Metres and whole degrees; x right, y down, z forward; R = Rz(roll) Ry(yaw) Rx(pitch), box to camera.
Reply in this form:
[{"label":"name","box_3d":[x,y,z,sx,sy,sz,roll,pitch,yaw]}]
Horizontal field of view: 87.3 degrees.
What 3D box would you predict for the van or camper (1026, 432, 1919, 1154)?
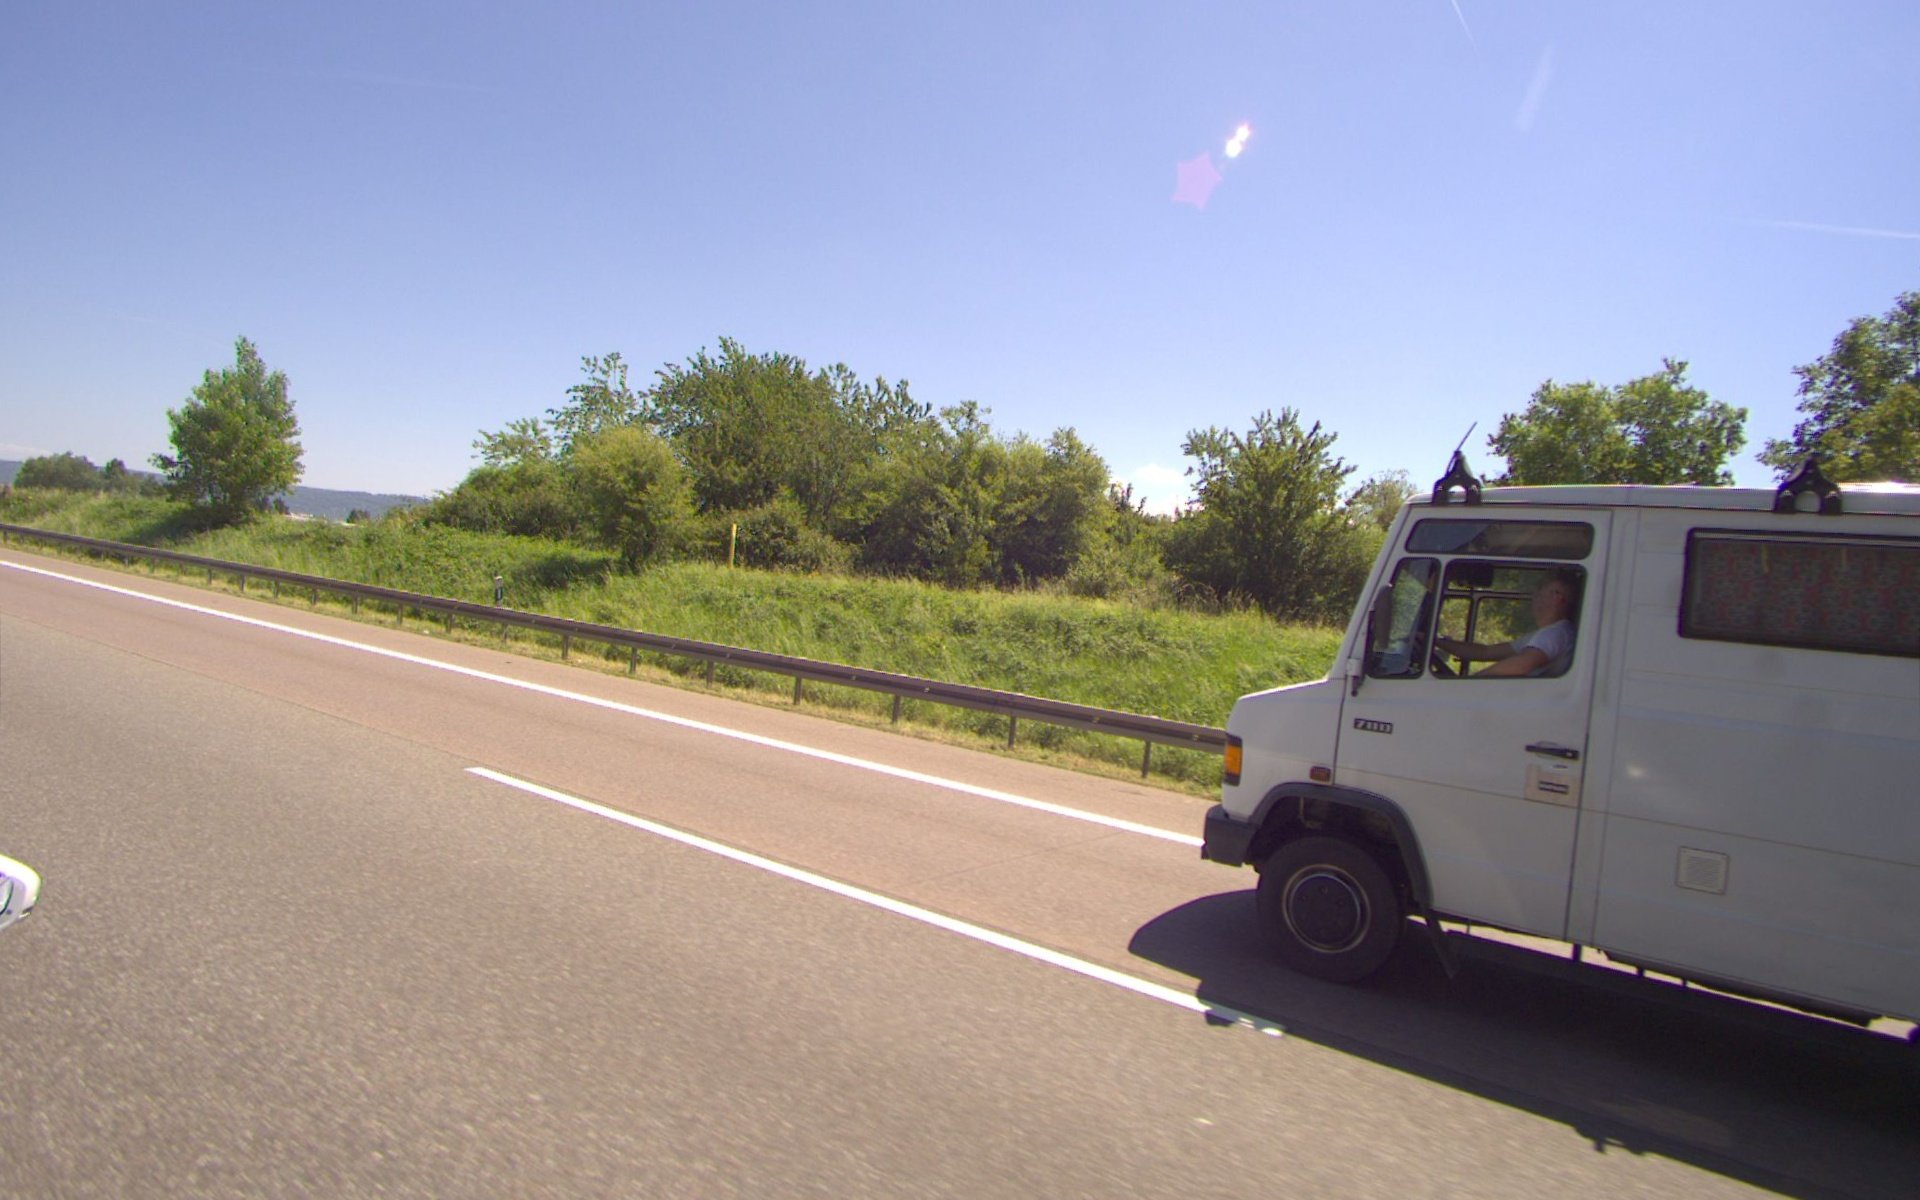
[{"label":"van or camper","box_3d":[3.724,0.767,5.078,6.263,2.735,2.117,6,-1,32]}]
